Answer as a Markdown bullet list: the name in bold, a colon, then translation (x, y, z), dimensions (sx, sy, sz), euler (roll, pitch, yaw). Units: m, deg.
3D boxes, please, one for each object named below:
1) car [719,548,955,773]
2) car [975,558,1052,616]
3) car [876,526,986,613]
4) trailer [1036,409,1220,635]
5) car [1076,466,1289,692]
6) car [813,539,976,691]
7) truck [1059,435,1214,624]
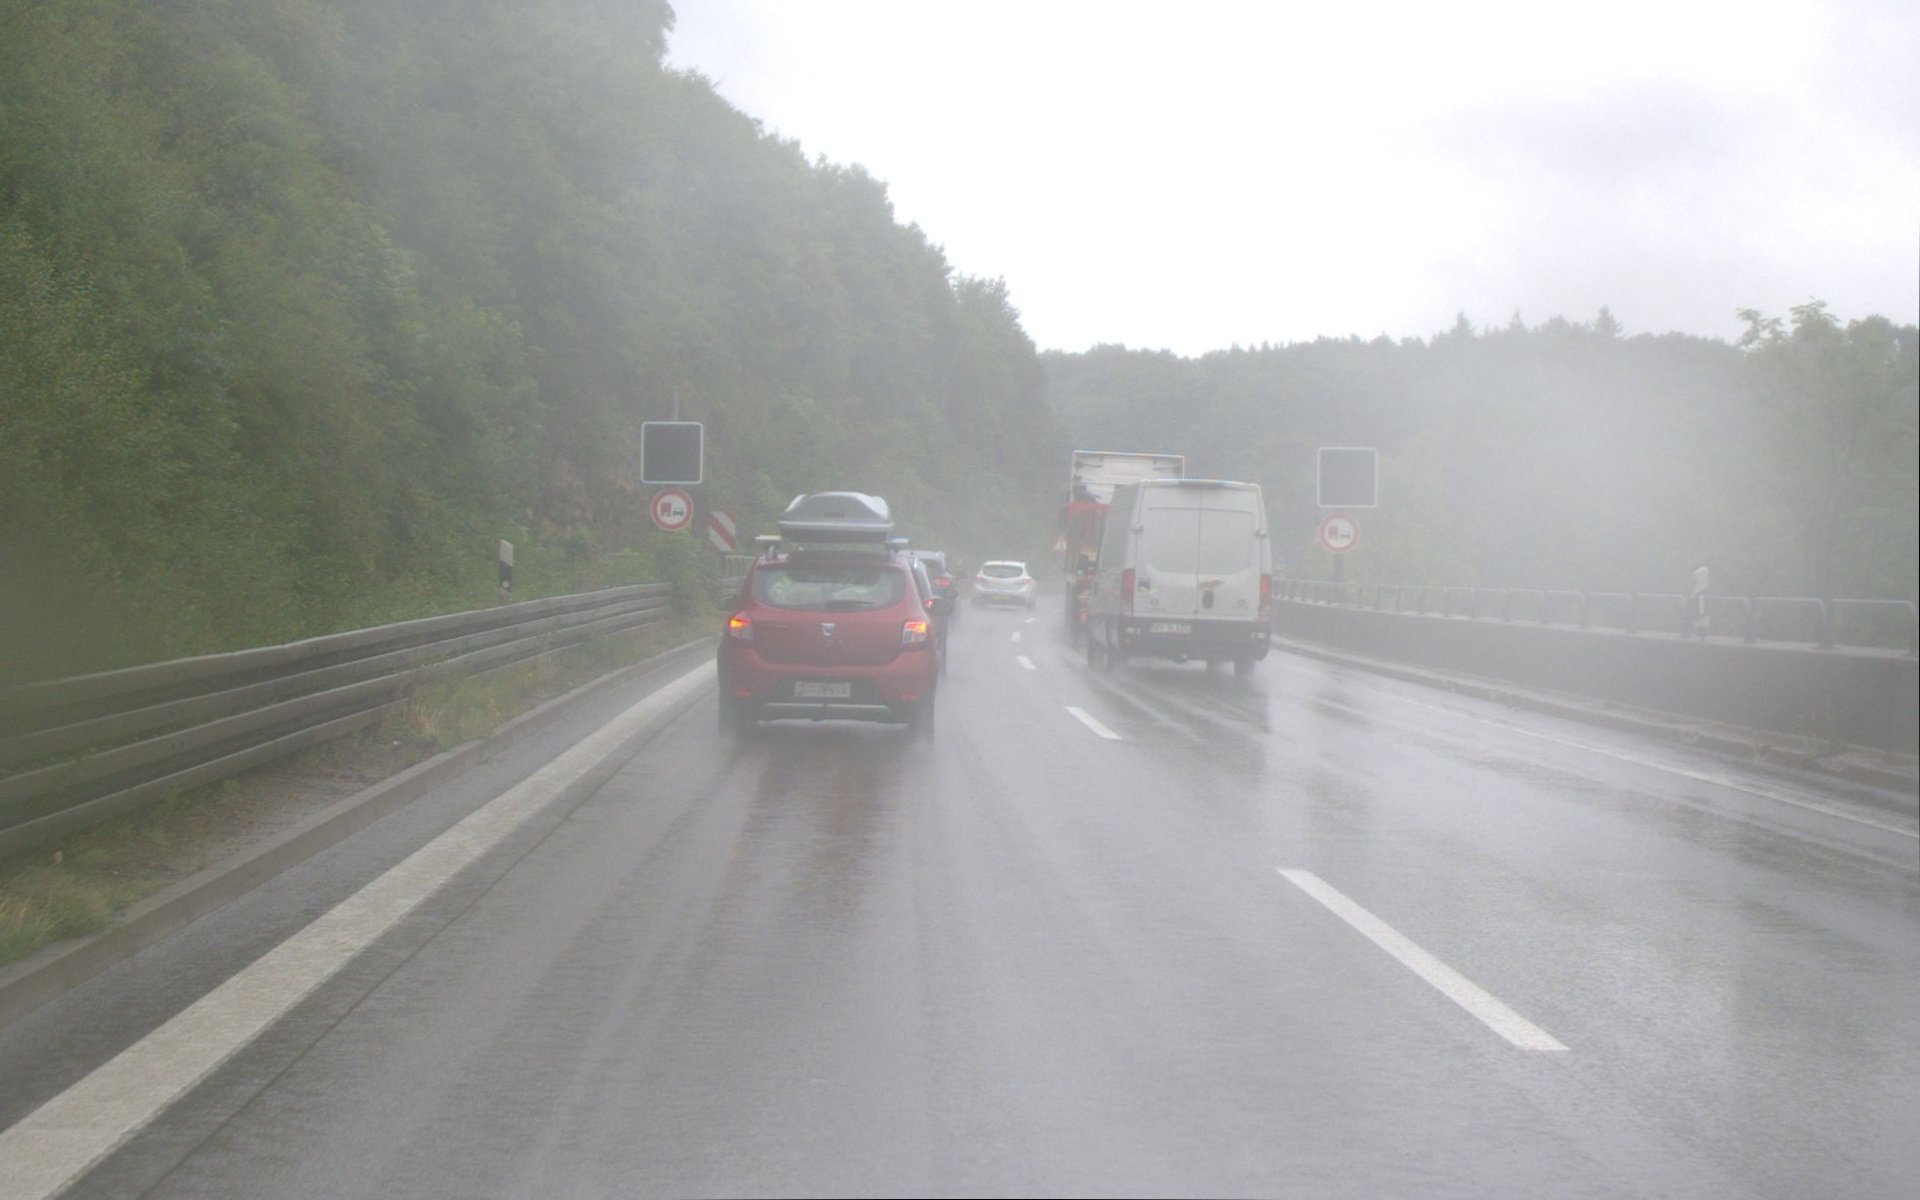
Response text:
- **car**: translation (-0.968, 0.451, 28.206), dimensions (1.758, 1.679, 4.000), euler (-1, 0, -1)
- **car**: translation (1.604, -0.398, 101.797), dimensions (1.994, 1.634, 3.999), euler (-1, 0, 5)
- **car**: translation (-0.564, -0.619, 70.471), dimensions (1.875, 1.700, 3.888), euler (-1, 0, 5)
- **trailer**: translation (3.453, -1.463, 68.303), dimensions (3.219, 3.985, 13.522), euler (1, 1, 4)
- **car**: translation (2.951, -0.310, 47.362), dimensions (2.206, 2.784, 7.383), euler (2, 1, -1)
- **car**: translation (-0.759, 0.164, 41.446), dimensions (1.832, 1.709, 3.645), euler (-1, 0, 0)
- **truck**: translation (3.930, -1.518, 75.589), dimensions (3.220, 3.964, 5.438), euler (1, 0, 4)
